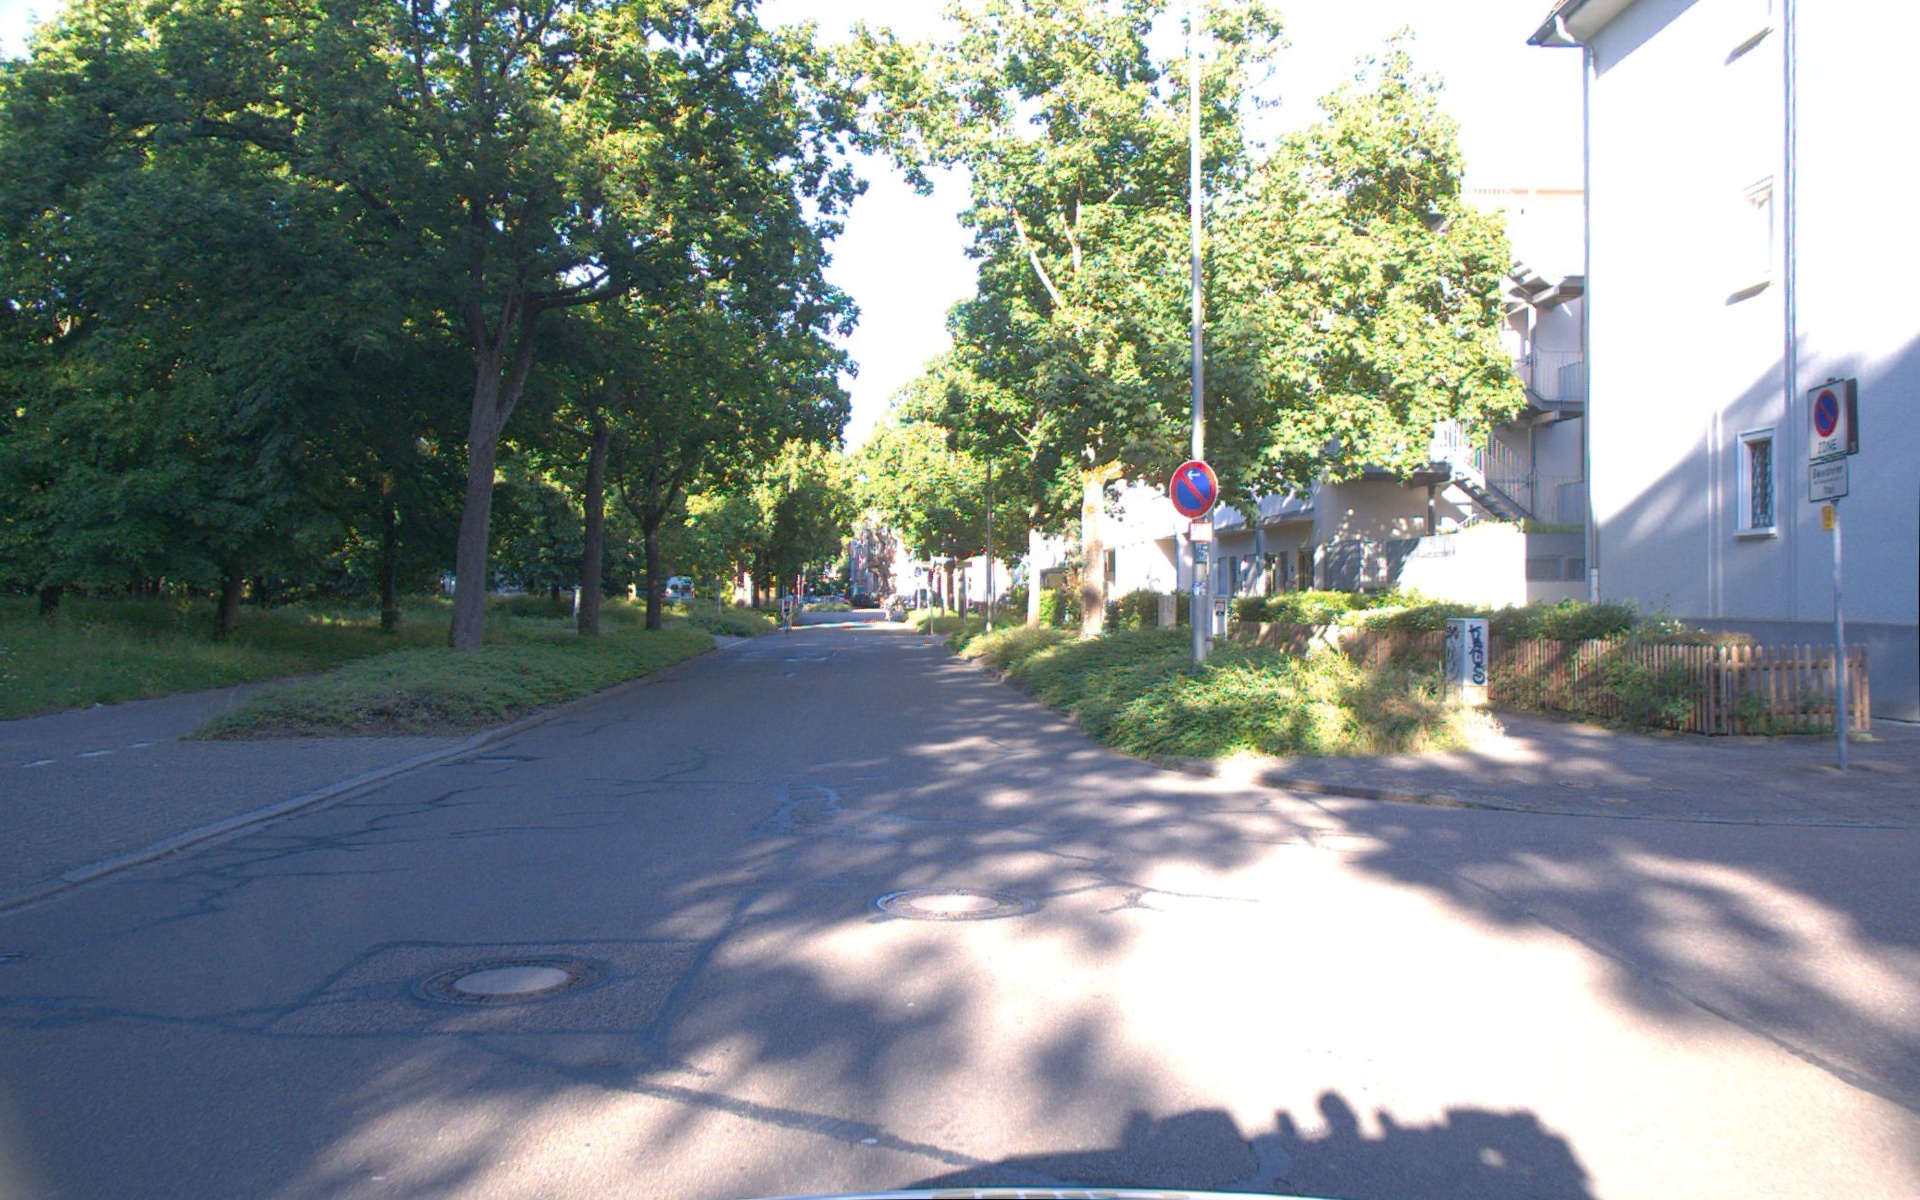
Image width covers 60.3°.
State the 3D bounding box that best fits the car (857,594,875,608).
[{"bbox_3d":[-10.344,0.076,181.992,1.777,1.527,3.994,1,0,-7],"label":"car"}]

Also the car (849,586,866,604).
[{"bbox_3d":[-12.274,-0.596,198.638,1.777,2.086,3.994,1,0,-7],"label":"car"}]

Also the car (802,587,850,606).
[{"bbox_3d":[-11.571,-0.324,143.007,3.916,1.527,1.812,1,0,-12],"label":"car"}]

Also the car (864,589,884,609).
[{"bbox_3d":[-9.046,-0.117,173.927,1.777,1.959,3.994,1,0,-7],"label":"car"}]

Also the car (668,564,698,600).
[{"bbox_3d":[-20.295,-1.302,121.007,1.958,2.552,3.988,1,0,-12],"label":"car"}]

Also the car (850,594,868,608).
[{"bbox_3d":[-11.565,0.068,188.458,1.777,1.527,3.994,1,0,-7],"label":"car"}]

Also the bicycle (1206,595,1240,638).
[{"bbox_3d":[7.525,0.460,47.385,0.605,1.212,1.752,1,0,-4],"label":"bicycle"}]

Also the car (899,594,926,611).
[{"bbox_3d":[-4.170,0.209,145.565,1.779,1.527,3.990,0,0,-11],"label":"car"}]

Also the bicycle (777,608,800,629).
[{"bbox_3d":[-6.568,0.704,63.465,0.626,0.755,2.126,-2,0,1],"label":"bicycle"}]

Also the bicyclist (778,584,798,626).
[{"bbox_3d":[-6.587,0.177,63.471,0.620,1.582,1.002,-2,0,0],"label":"bicyclist"}]

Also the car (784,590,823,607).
[{"bbox_3d":[-14.708,-0.171,155.064,3.524,1.537,1.496,1,0,-12],"label":"car"}]
